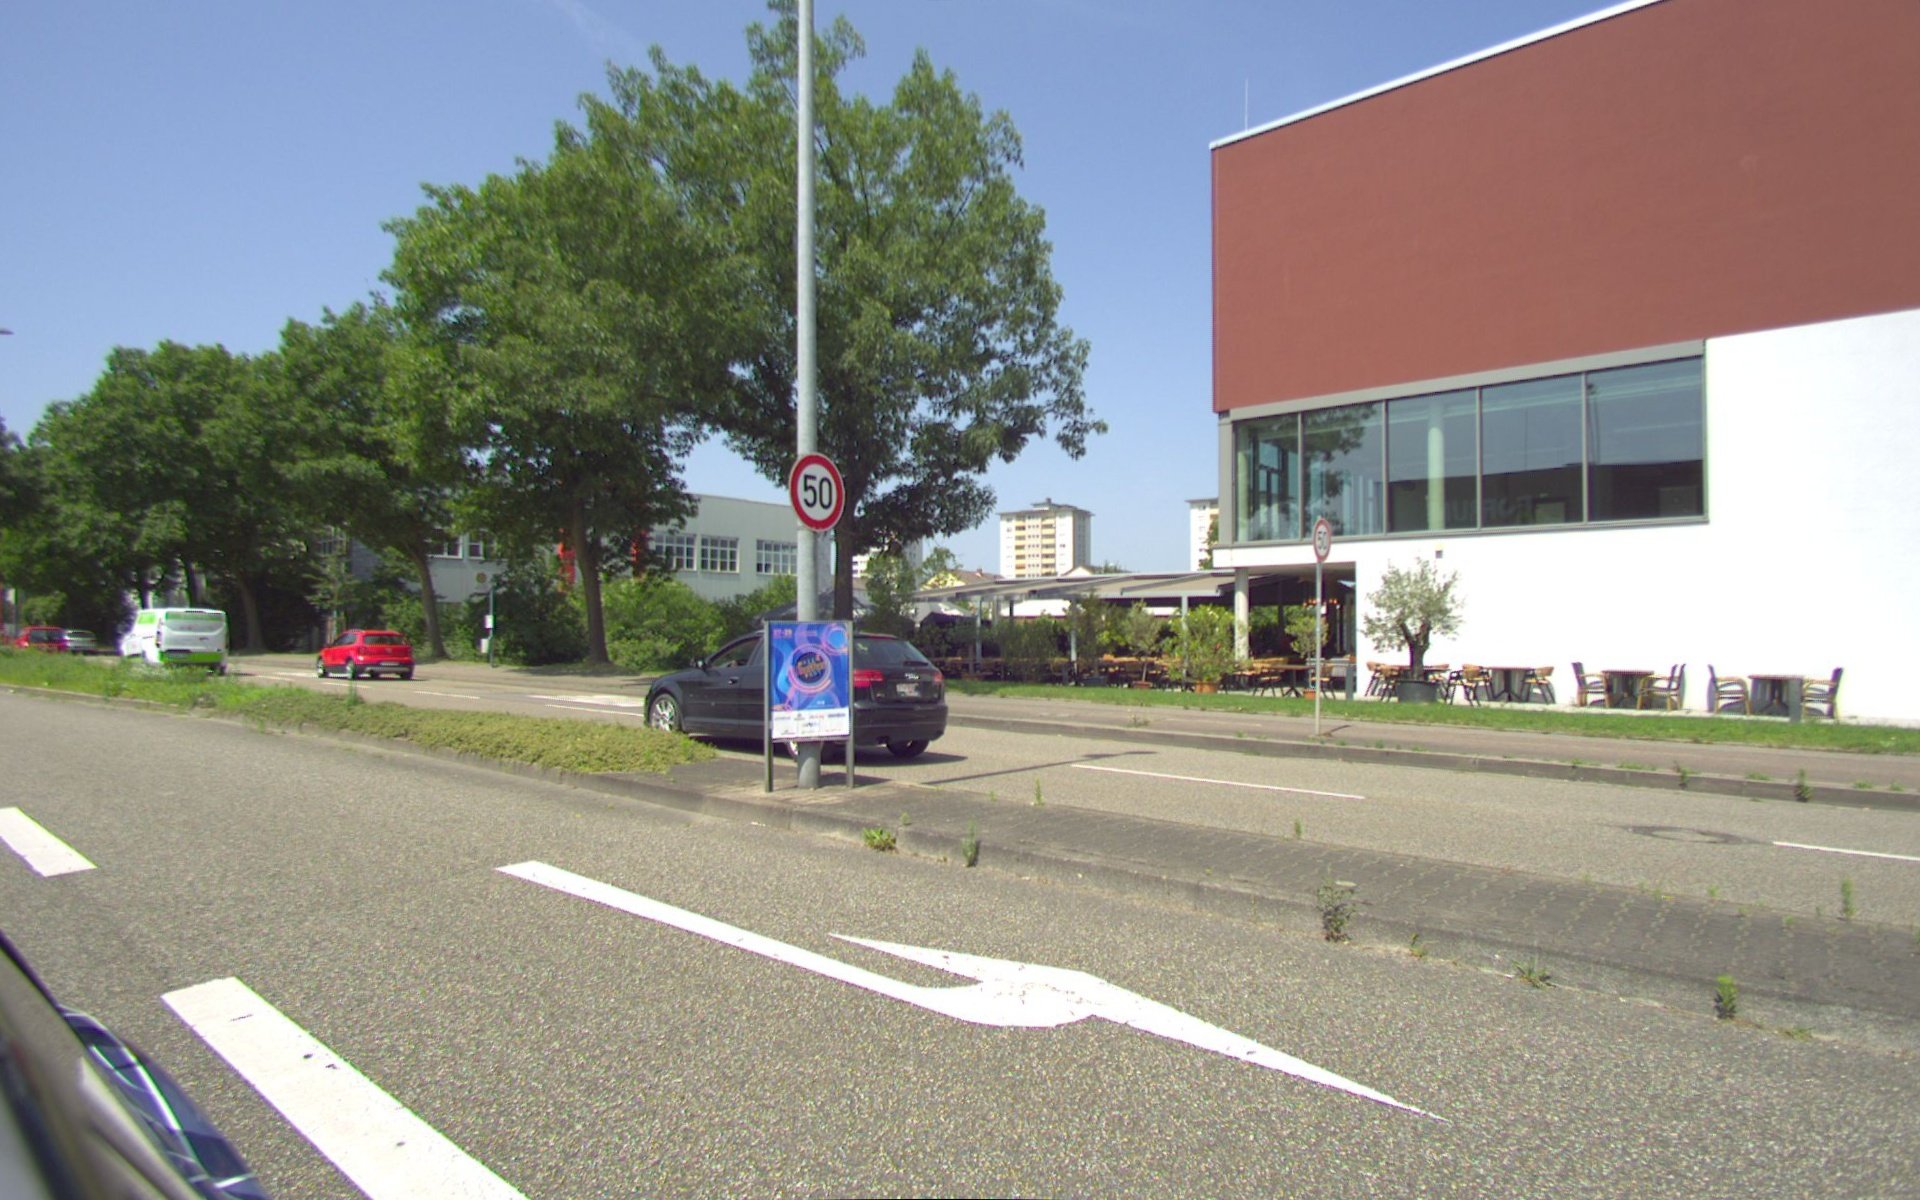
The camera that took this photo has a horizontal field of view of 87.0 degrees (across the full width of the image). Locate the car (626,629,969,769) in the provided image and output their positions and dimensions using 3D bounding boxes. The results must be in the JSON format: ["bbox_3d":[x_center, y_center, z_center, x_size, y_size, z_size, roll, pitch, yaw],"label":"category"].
[{"bbox_3d":[-1.975,1.049,11.716,3.996,1.349,1.662,-1,-5,39],"label":"car"}]

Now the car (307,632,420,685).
[{"bbox_3d":[-17.933,1.732,30.372,3.889,1.464,1.688,-2,-5,41],"label":"car"}]

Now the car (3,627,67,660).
[{"bbox_3d":[-41.872,1.963,45.769,3.605,1.452,1.564,-1,-4,39],"label":"car"}]

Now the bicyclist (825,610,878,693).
[{"bbox_3d":[-2.200,1.038,20.545,0.923,1.643,0.601,-2,-3,41],"label":"bicyclist"}]

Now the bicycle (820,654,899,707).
[{"bbox_3d":[-2.028,1.603,20.374,1.659,0.976,0.611,-1,-3,41],"label":"bicycle"}]

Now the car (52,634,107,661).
[{"bbox_3d":[-50.702,2.717,58.282,4.130,1.462,1.731,-2,-5,41],"label":"car"}]

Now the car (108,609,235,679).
[{"bbox_3d":[-24.132,1.347,30.920,4.904,1.960,1.973,-2,-4,40],"label":"car"}]
